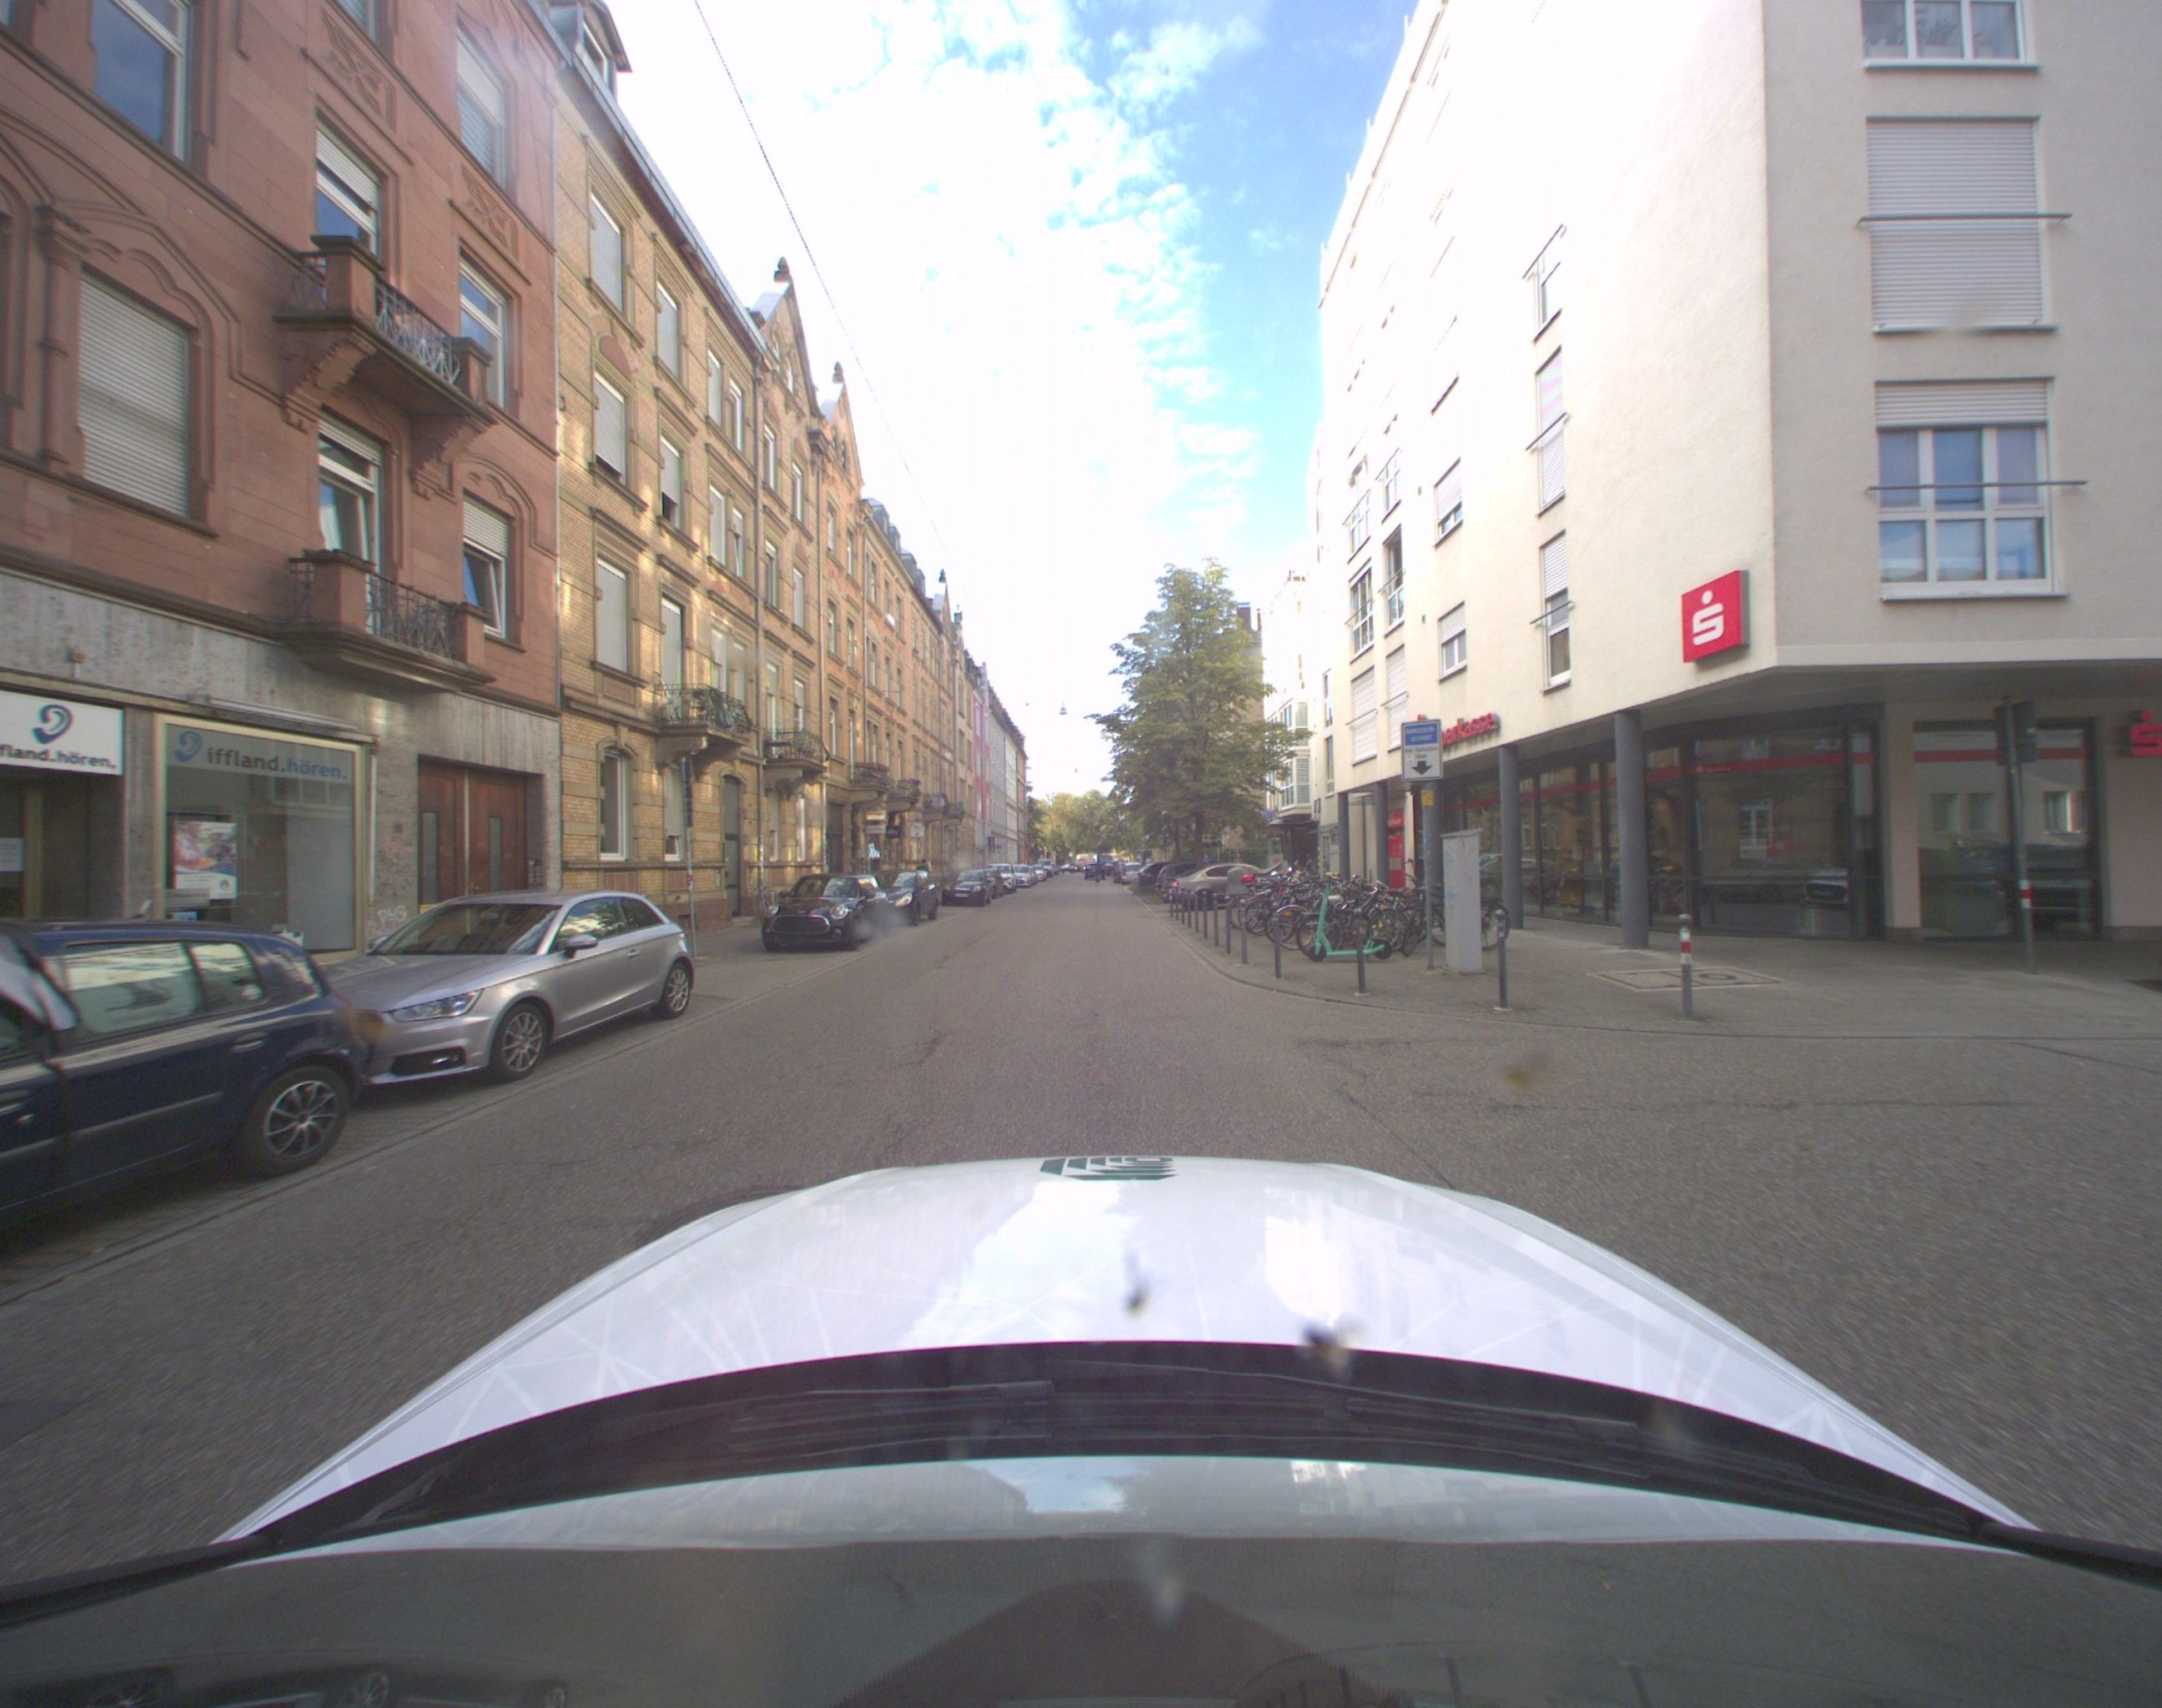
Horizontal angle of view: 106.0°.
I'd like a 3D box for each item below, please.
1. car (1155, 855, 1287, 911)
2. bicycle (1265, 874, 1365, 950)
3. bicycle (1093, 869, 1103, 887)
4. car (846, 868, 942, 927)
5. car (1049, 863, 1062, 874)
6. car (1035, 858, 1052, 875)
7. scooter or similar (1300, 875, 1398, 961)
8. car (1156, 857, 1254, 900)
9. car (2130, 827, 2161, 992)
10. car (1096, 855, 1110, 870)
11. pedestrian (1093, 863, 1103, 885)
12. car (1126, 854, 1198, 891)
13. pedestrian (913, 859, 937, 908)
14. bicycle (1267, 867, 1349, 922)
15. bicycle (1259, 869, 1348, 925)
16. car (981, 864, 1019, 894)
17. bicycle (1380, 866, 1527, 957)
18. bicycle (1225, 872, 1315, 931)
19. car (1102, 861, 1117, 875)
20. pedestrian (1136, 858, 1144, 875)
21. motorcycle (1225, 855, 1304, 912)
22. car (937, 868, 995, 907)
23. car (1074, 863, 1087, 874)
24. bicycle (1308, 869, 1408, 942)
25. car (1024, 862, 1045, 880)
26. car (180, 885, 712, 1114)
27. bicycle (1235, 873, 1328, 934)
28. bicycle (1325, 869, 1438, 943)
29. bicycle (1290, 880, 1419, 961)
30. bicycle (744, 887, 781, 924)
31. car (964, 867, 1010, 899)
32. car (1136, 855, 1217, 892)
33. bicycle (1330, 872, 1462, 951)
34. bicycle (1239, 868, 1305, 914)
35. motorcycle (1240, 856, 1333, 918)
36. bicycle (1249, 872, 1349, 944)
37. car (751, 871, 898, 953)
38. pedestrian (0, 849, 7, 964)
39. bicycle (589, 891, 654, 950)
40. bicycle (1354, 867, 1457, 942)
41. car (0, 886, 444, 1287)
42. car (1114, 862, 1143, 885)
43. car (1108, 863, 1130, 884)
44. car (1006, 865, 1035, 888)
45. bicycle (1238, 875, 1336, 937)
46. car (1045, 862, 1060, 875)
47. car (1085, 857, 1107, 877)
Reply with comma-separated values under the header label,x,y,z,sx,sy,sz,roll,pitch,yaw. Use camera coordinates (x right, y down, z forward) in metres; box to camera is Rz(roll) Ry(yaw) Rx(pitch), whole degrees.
label,x,y,z,sx,sy,sz,roll,pitch,yaw
car,4.473,0.928,26.245,3.760,1.546,1.725,-3,-2,-10
bicycle,3.876,0.948,13.527,1.492,1.146,0.411,-3,0,-5
bicycle,1.275,1.772,60.188,0.715,1.274,1.884,0,0,2
car,-4.988,1.124,22.246,1.684,1.437,3.867,0,0,1
car,-3.641,2.032,115.305,1.581,1.539,3.755,0,0,3
car,-4.052,1.345,88.753,1.684,1.821,3.866,0,-1,0
scooter or similar,3.790,0.910,11.532,1.194,1.147,0.381,-4,0,32
car,5.228,1.013,34.710,3.967,1.583,2.003,-3,-1,5
car,12.858,0.522,7.374,4.345,1.630,1.809,-1,1,1
car,2.875,1.098,107.519,1.776,2.020,3.887,0,0,0
pedestrian,1.276,1.468,60.202,0.715,1.650,0.930,0,-1,1
car,4.655,1.067,47.089,3.968,1.683,1.740,-3,7,4
pedestrian,-6.004,1.112,31.322,0.686,1.853,0.932,0,-1,2
bicycle,5.298,0.930,19.028,1.725,1.159,0.500,-3,0,2
bicycle,4.942,0.959,18.122,1.777,1.159,0.503,-4,0,26
car,-4.432,1.337,45.049,1.684,1.550,3.867,0,0,1
bicycle,5.329,0.811,11.734,1.758,1.162,0.650,-3,0,2
bicycle,4.103,1.020,17.719,1.786,1.159,0.500,-3,0,3
car,3.075,1.491,88.502,1.582,1.539,3.752,0,0,0
pedestrian,7.375,1.558,102.125,0.992,2.230,0.899,0,-1,1
motorcycle,5.389,0.864,23.992,2.140,1.530,0.687,-3,0,5
car,-4.560,1.296,32.898,1.684,1.369,3.867,3,0,1
car,-0.075,2.055,116.781,1.848,1.621,4.001,0,0,1
bicycle,4.982,0.906,14.607,1.771,1.146,0.409,-3,0,-20
car,-4.104,1.533,72.383,1.684,1.550,3.866,0,-1,0
car,-5.060,1.029,7.305,1.684,1.386,3.867,0,0,1
bicycle,4.118,1.016,16.785,1.758,1.118,0.412,-3,0,3
bicycle,5.196,0.887,14.104,1.763,1.146,0.411,-3,0,-6
bicycle,4.065,0.973,12.142,1.762,1.057,0.411,-3,0,-5
bicycle,-8.373,1.351,21.466,0.434,0.898,1.296,2,-1,0
car,-4.570,1.388,39.942,1.684,1.369,3.867,3,0,1
car,4.897,0.982,42.043,3.967,1.640,2.003,-3,-1,5
bicycle,4.914,0.891,12.782,1.758,1.087,0.650,-3,0,2
bicycle,5.234,1.014,22.370,1.658,1.159,0.557,-3,0,2
motorcycle,5.276,0.842,21.011,2.140,1.435,0.766,-3,0,5
bicycle,3.935,0.953,14.679,1.771,1.146,0.409,-3,0,-20
car,-4.991,1.070,16.396,1.684,1.386,3.867,0,0,1
pedestrian,-7.084,0.847,4.659,0.730,1.790,0.770,2,-1,-6
bicycle,-8.585,1.221,15.264,0.434,1.015,1.296,2,-1,0
bicycle,5.389,0.834,13.564,1.490,1.146,0.411,-3,0,0
car,-5.049,0.935,3.294,1.735,1.483,3.984,0,0,1
car,3.426,1.386,59.411,1.923,1.638,4.001,0,0,1
car,2.927,1.515,63.819,1.684,1.550,3.689,0,-1,2
car,-4.198,1.576,56.918,1.684,1.550,3.866,0,-1,0
bicycle,4.045,1.012,16.041,1.758,1.099,0.412,-3,0,3
car,-3.623,1.841,103.997,1.684,1.550,3.866,0,-1,0
car,1.354,1.245,76.088,1.958,1.741,4.041,-1,-1,1
